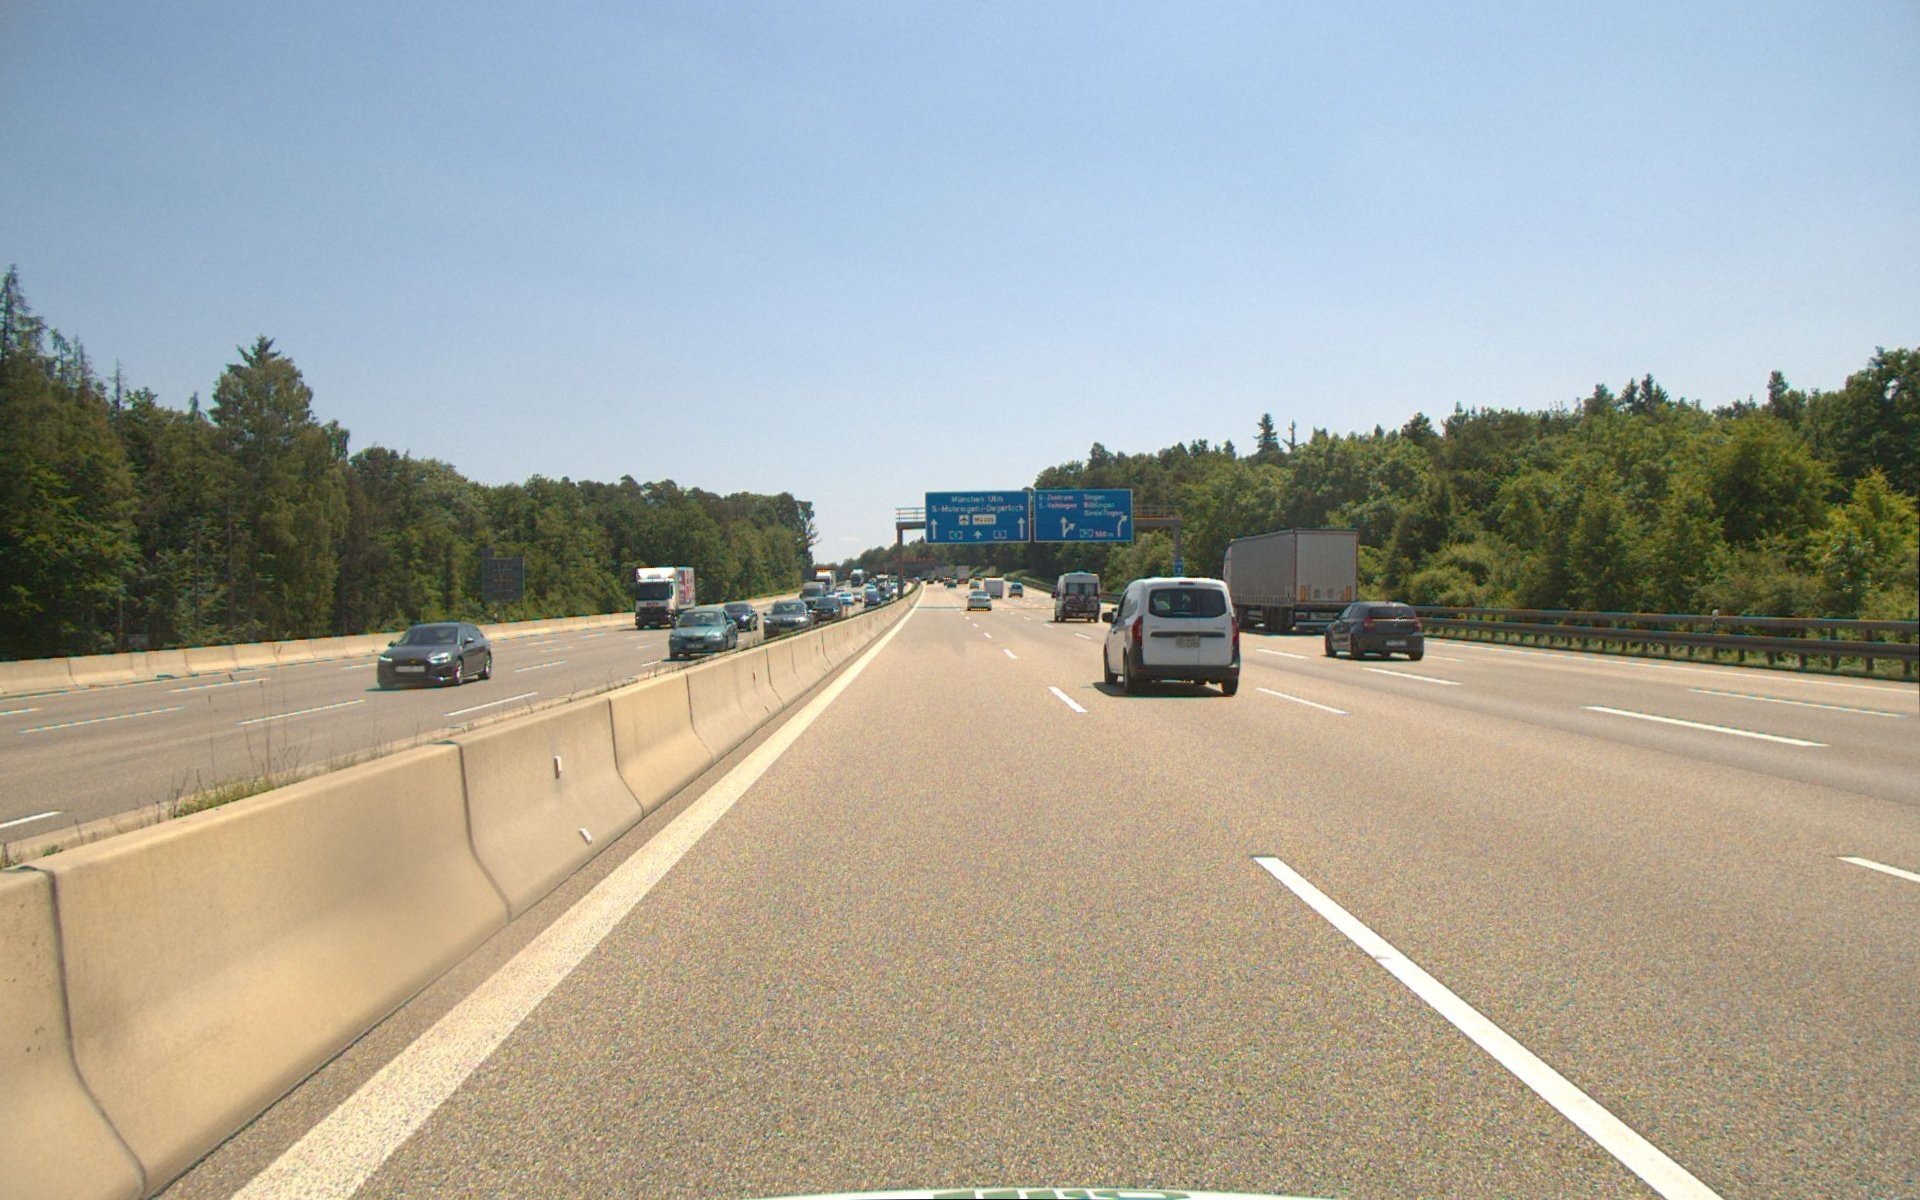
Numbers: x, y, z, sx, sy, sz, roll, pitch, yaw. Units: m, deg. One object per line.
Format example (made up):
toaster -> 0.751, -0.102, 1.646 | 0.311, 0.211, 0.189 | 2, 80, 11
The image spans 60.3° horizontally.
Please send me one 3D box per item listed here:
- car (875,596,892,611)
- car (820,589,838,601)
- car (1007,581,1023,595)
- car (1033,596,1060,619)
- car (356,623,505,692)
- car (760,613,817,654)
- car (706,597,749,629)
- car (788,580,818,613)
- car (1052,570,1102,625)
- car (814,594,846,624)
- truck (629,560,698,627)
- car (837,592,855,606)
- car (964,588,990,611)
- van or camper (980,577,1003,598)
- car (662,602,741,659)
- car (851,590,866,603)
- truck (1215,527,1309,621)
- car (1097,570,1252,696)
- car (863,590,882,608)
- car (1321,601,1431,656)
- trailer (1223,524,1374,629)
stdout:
car -> -9.208, 0.395, 199.661 | 1.832, 1.634, 5.227 | -2, 1, -1
car -> -16.760, -0.651, 211.449 | 1.952, 1.329, 4.844 | -2, 1, -1
car -> 7.255, -1.602, 218.565 | 1.783, 1.892, 3.999 | -1, 1, -1
car -> 6.547, 0.522, 125.823 | 1.781, 1.668, 3.999 | -2, 0, -1
car -> -12.320, 1.292, 38.838 | 1.883, 1.373, 5.044 | -2, 0, -1
car -> -6.551, 1.254, 63.429 | 1.717, 1.401, 4.490 | -2, 0, -1
car -> -12.109, 0.656, 86.419 | 1.683, 1.474, 4.907 | -2, 1, -2
car -> -13.395, -0.360, 141.097 | 1.891, 2.652, 7.229 | -2, 1, -1
car -> 6.124, -0.140, 87.213 | 2.100, 2.698, 5.708 | -2, 0, -1
car -> -7.690, 0.523, 97.902 | 1.581, 1.691, 3.849 | -2, 0, 0
truck -> -18.913, -0.392, 106.076 | 2.664, 4.008, 10.233 | -2, 0, -1
car -> -12.613, -0.150, 183.208 | 1.644, 1.469, 4.525 | -3, 0, -1
car -> 1.304, -0.030, 125.653 | 1.806, 1.657, 4.552 | -2, 0, -1
van or camper -> 3.865, -1.531, 205.132 | 2.591, 2.583, 6.500 | -2, 0, -1
car -> -7.643, 0.884, 49.321 | 1.682, 1.538, 4.350 | -2, 0, -1
car -> -12.477, -0.464, 203.164 | 1.644, 1.469, 3.993 | -3, 0, -1
truck -> 13.926, -1.189, 76.748 | 3.188, 4.178, 5.986 | 0, 1, -1
car -> 3.458, 0.505, 27.435 | 1.822, 1.857, 4.611 | -2, 0, -1
car -> -8.656, -0.109, 163.285 | 1.670, 1.691, 3.759 | -1, 0, -1
car -> 10.431, 0.691, 41.732 | 1.636, 1.296, 4.289 | 0, 0, -1
trailer -> 14.099, -1.007, 70.400 | 3.221, 3.999, 13.887 | 0, 1, -1
